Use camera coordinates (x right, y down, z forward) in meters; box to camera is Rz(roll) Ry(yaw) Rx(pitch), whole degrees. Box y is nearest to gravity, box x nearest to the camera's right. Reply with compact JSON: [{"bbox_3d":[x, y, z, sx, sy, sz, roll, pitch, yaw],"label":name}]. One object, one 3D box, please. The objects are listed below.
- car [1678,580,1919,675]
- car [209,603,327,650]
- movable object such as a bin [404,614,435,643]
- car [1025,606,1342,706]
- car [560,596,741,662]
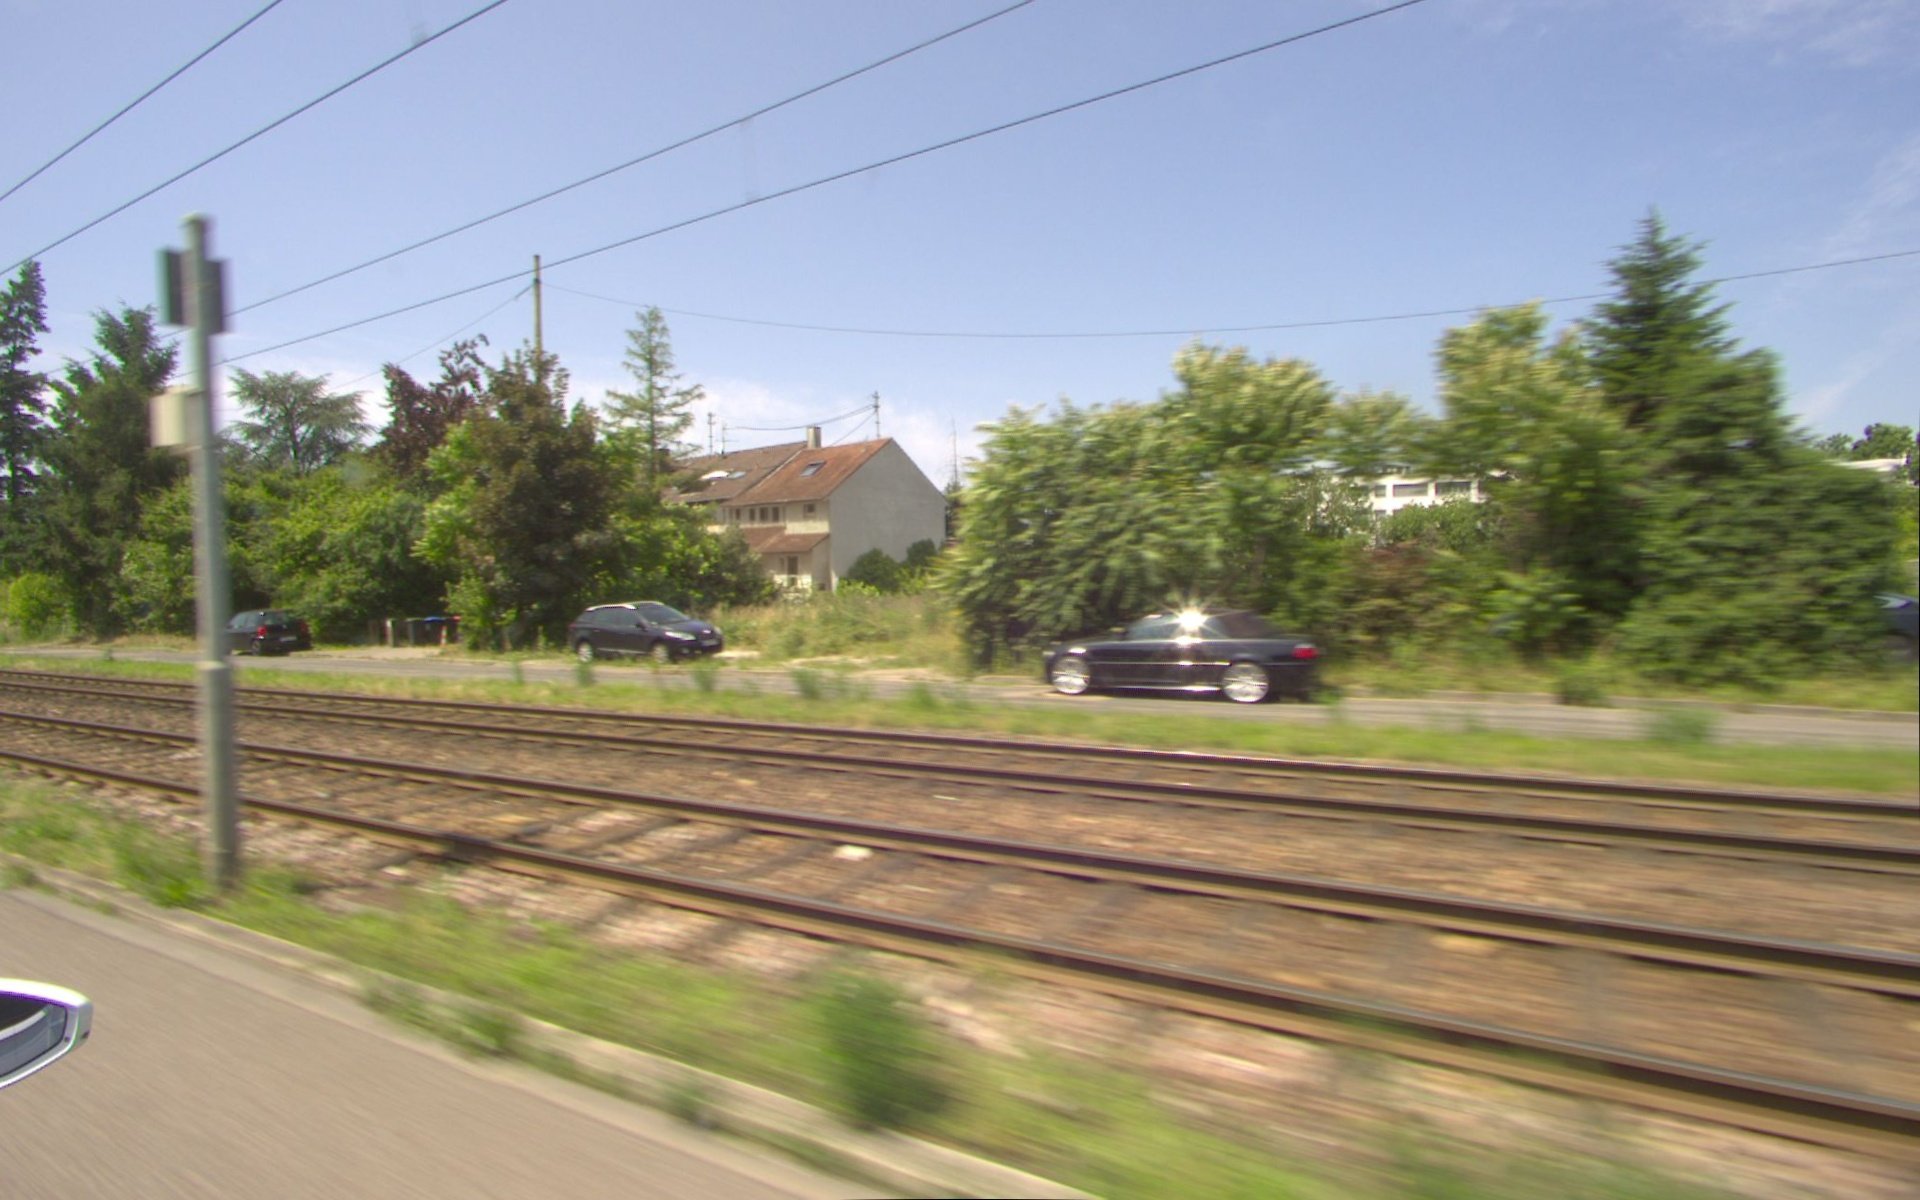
[{"bbox_3d":[14.160,0.433,16.449,3.684,1.438,1.718,-1,0,30],"label":"car"},{"bbox_3d":[-23.315,0.871,33.723,3.943,1.490,1.910,-1,0,33],"label":"car"},{"bbox_3d":[-18.038,0.933,33.423,0.612,0.949,0.722,0,0,32],"label":"movable object such as a bin"},{"bbox_3d":[3.411,0.795,15.501,4.448,1.348,1.858,-1,0,30],"label":"car"},{"bbox_3d":[-7.974,0.711,25.706,4.488,1.581,1.932,-1,0,30],"label":"car"}]
